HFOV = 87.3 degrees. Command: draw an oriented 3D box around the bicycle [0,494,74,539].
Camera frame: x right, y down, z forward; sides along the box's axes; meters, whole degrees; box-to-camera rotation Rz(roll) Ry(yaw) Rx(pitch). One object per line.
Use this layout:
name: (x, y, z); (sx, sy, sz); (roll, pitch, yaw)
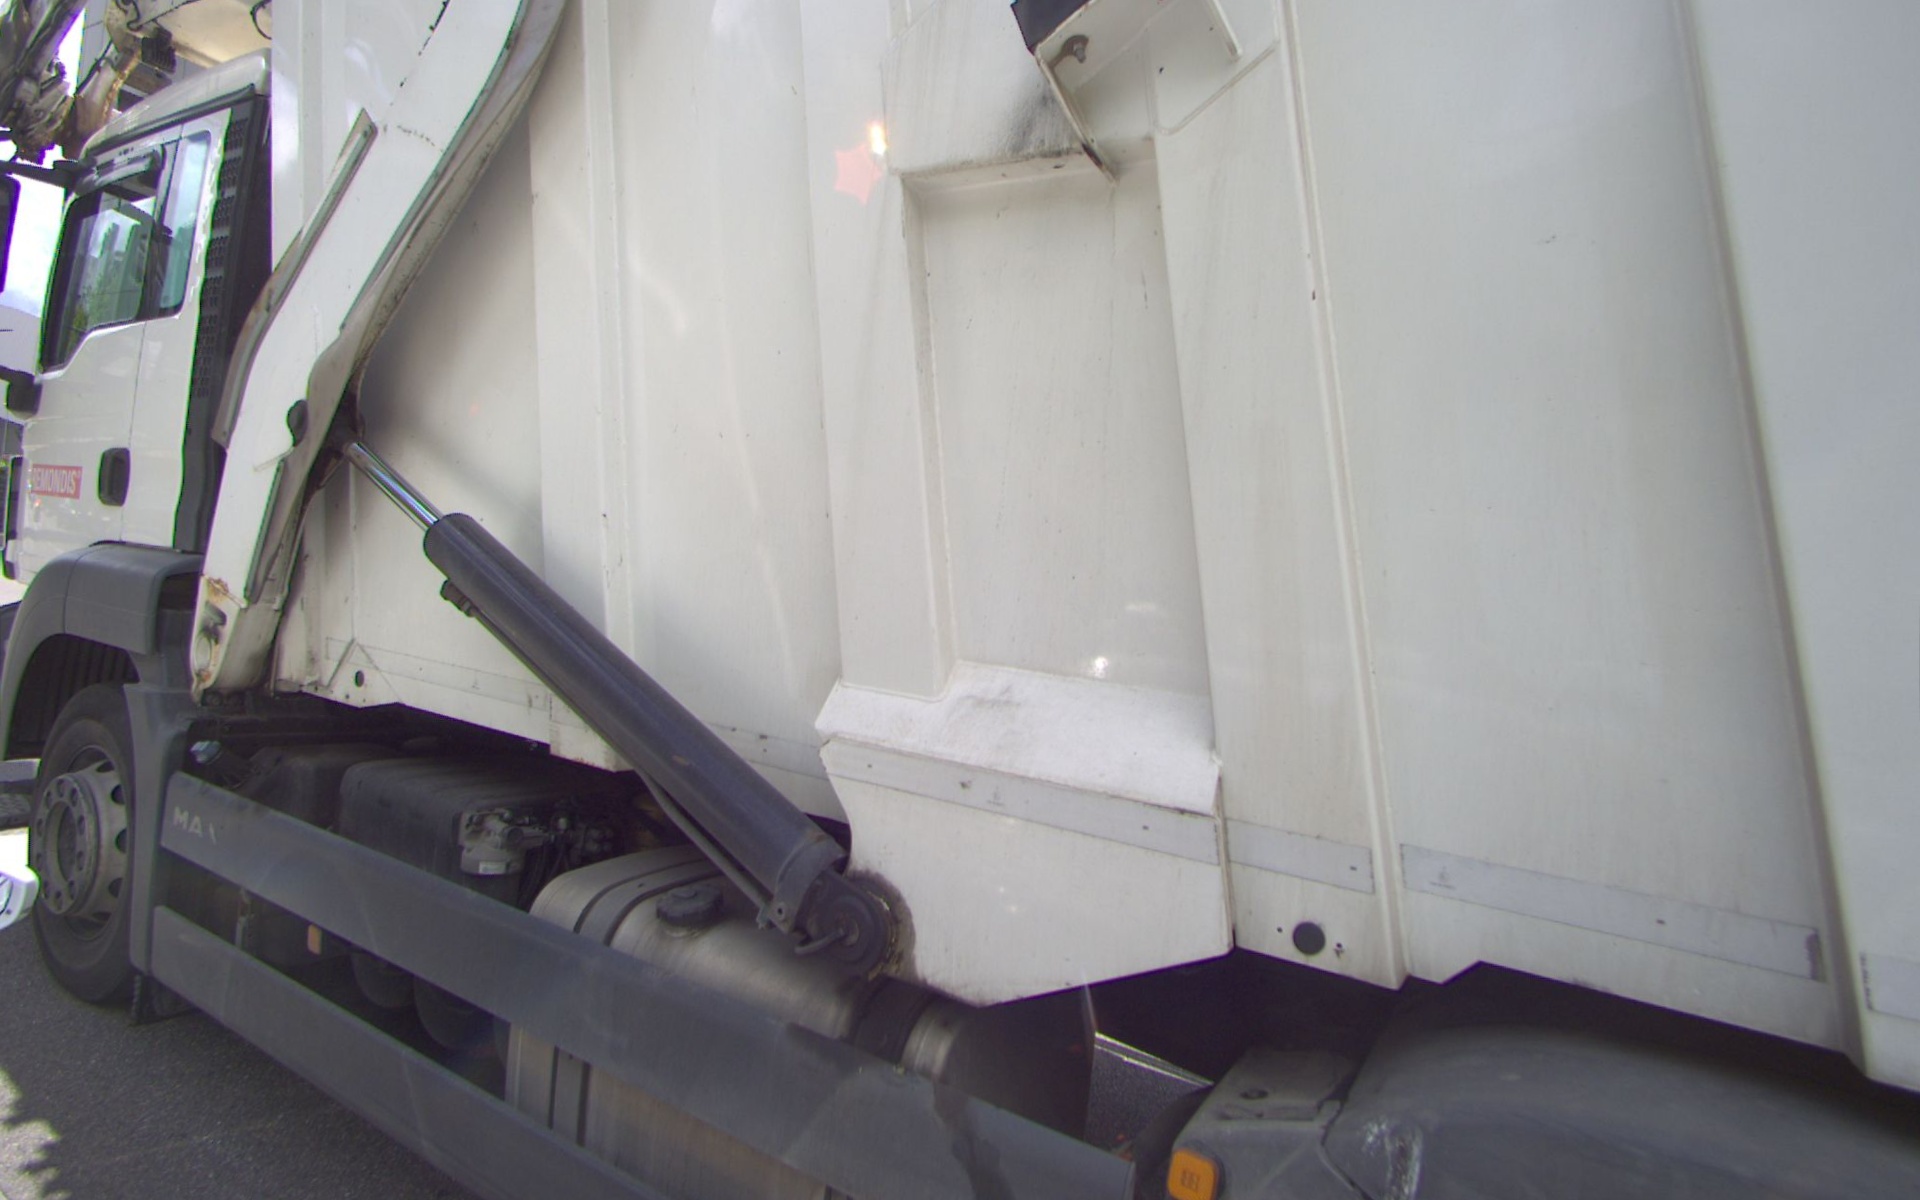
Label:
bicycle: (-29.302, -2.642, 31.500); (2.197, 1.099, 0.474); (8, -1, -23)

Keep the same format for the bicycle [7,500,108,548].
bicycle: (-27.966, -2.336, 31.215); (2.197, 1.099, 0.474); (8, -1, -23)

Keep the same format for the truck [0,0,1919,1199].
truck: (1.122, -0.424, 2.180); (10.003, 3.958, 2.494); (6, -1, 31)

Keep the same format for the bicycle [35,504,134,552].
bicycle: (-26.941, -2.209, 30.989); (2.166, 1.099, 0.474); (8, -1, -23)

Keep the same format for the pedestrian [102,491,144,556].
pedestrian: (-25.069, -2.286, 30.136); (0.702, 1.818, 0.689); (5, 3, -24)

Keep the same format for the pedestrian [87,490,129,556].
pedestrian: (-24.916, -2.245, 29.433); (0.703, 1.818, 0.638); (5, 3, -25)
